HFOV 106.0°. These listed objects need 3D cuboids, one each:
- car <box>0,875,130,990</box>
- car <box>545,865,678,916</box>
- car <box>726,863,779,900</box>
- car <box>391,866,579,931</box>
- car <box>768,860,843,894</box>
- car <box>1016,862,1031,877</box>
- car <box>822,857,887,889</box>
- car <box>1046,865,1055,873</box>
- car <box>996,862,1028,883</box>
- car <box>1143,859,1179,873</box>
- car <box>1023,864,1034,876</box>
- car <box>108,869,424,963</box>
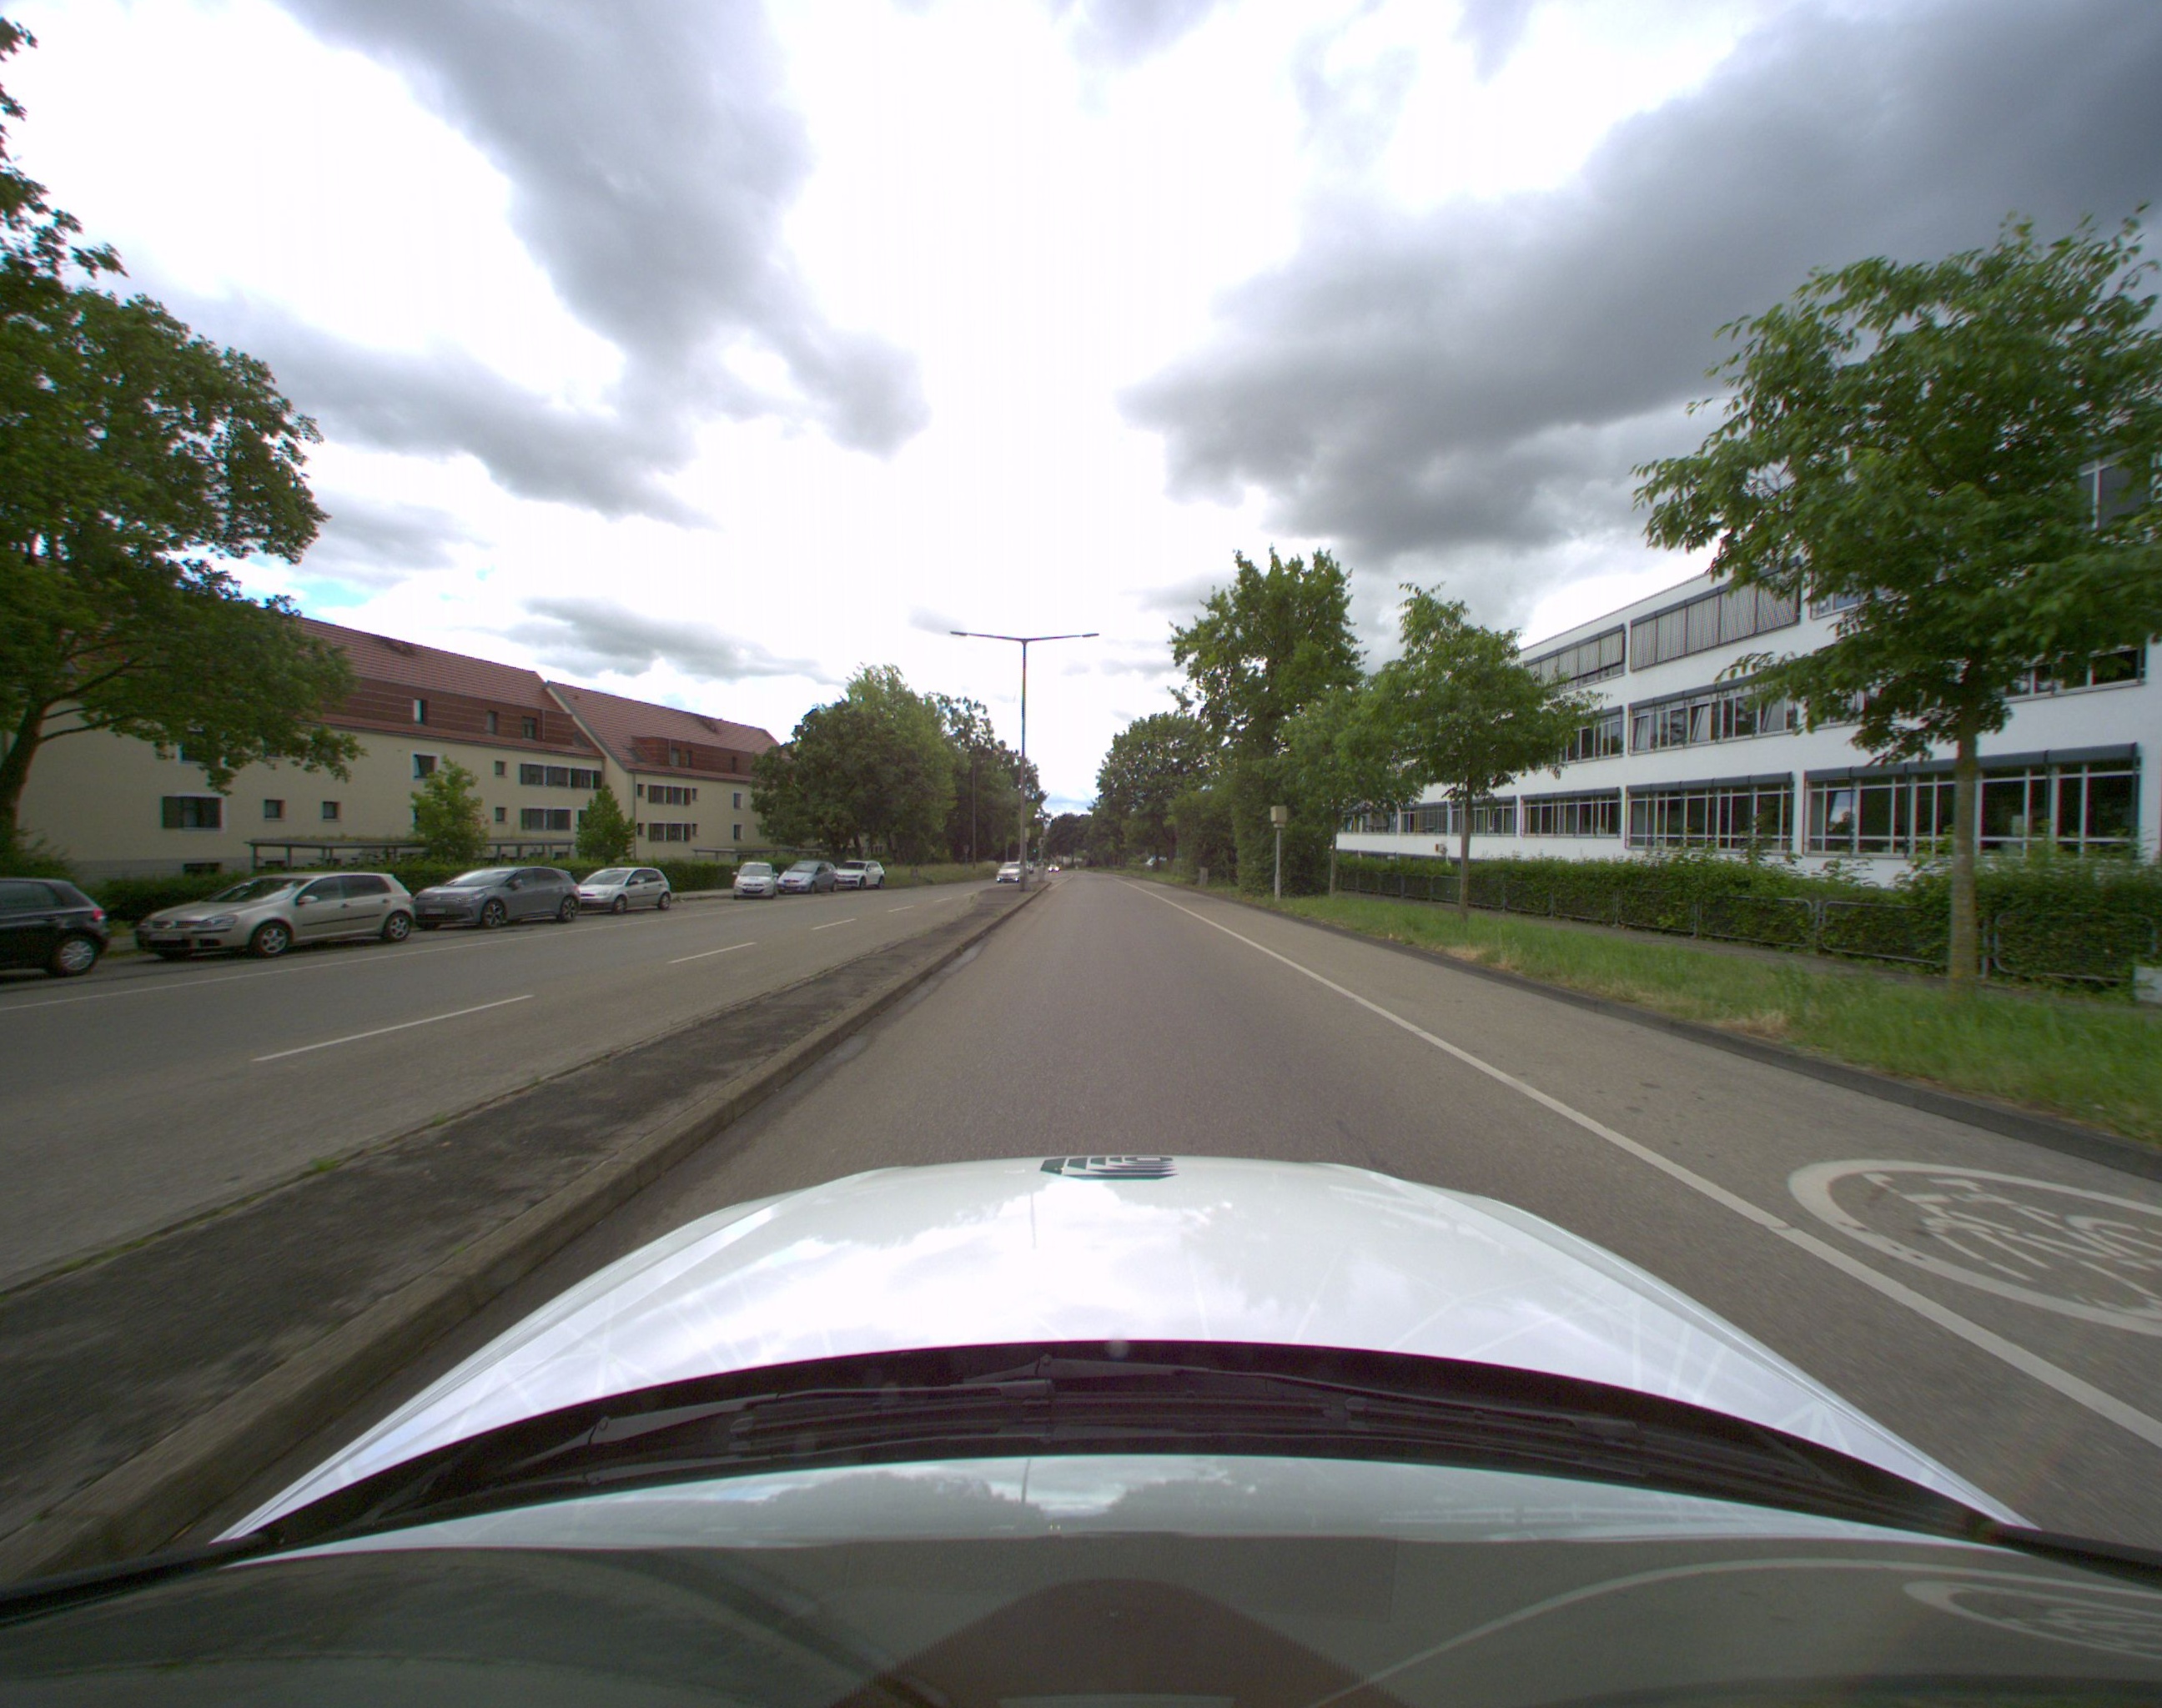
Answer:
[{"bbox_3d":[-15.278,1.046,10.397,1.874,1.507,3.988,0,-1,-8],"label":"car"},{"bbox_3d":[-15.039,1.118,26.371,1.868,1.507,4.002,-1,-1,2],"label":"car"},{"bbox_3d":[-14.318,1.149,35.657,1.880,1.507,3.975,0,-1,-18],"label":"car"},{"bbox_3d":[-15.174,1.065,21.056,1.869,1.507,4.000,0,-1,1],"label":"car"},{"bbox_3d":[-13.599,1.137,40.453,1.865,1.597,4.008,0,-2,8],"label":"car"},{"bbox_3d":[-7.953,2.148,113.163,1.763,1.931,5.152,0,-1,-1],"label":"car"},{"bbox_3d":[-12.580,1.087,45.587,1.865,1.667,4.400,0,-2,8],"label":"car"},{"bbox_3d":[-5.838,2.834,155.508,1.632,1.467,3.999,-2,-1,0],"label":"car"},{"bbox_3d":[-5.130,1.406,61.043,1.868,1.570,4.341,0,-2,2],"label":"car"},{"bbox_3d":[14.140,2.188,144.183,6.041,2.367,2.342,1,-2,-26],"label":"car"},{"bbox_3d":[-8.963,2.671,138.961,1.862,1.964,5.120,-1,-1,-3],"label":"car"},{"bbox_3d":[-15.023,1.059,15.411,1.869,1.507,4.056,0,-1,0],"label":"car"}]
